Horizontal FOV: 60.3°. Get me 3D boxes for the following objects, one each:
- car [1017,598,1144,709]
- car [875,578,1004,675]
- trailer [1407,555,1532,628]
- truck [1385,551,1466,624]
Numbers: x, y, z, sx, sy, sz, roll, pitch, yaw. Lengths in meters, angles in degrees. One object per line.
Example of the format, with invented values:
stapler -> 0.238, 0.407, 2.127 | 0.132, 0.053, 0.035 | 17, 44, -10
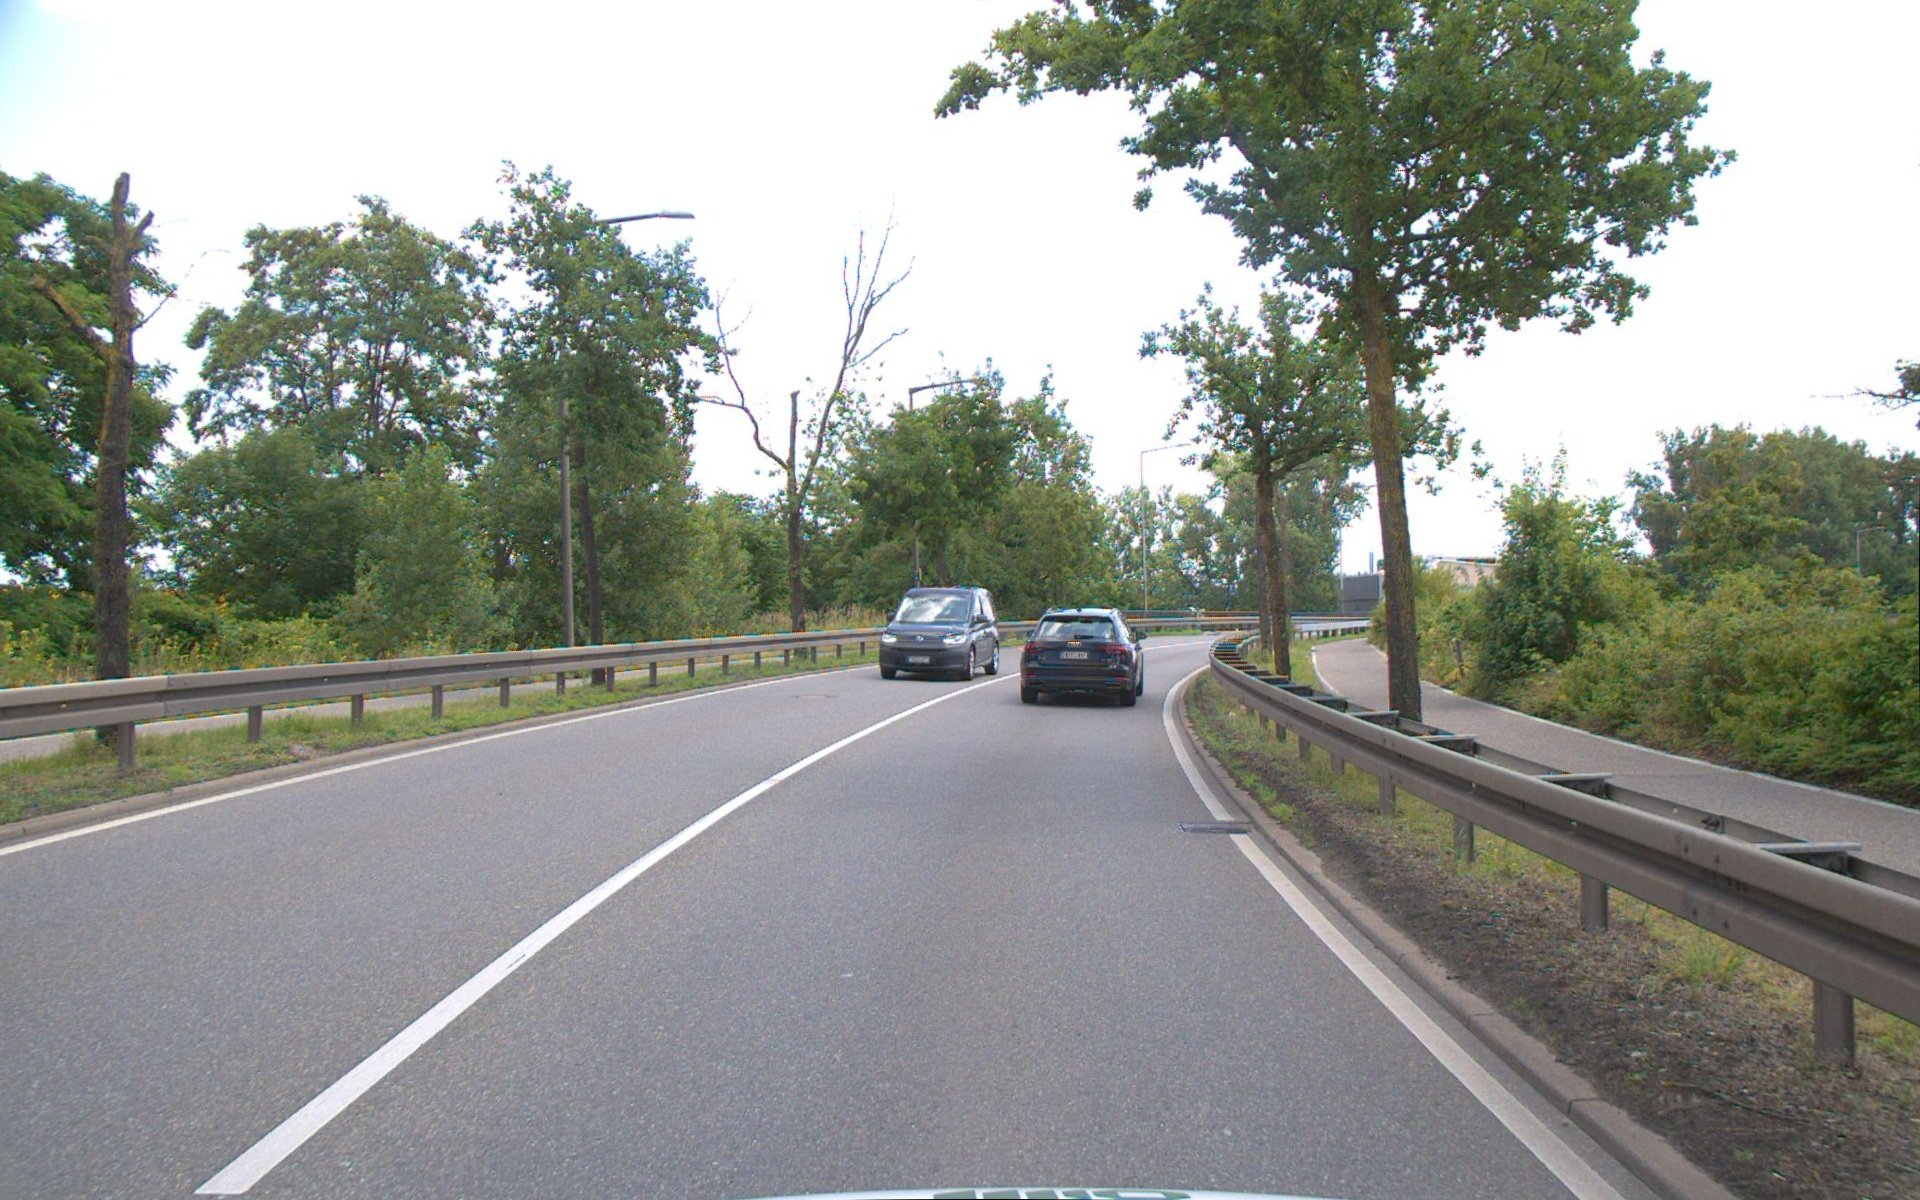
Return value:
car -> 1.866, 0.776, 26.235 | 1.790, 1.517, 4.208 | 2, 0, 3
car -> -0.329, 0.493, 32.933 | 1.813, 1.739, 4.315 | 1, 0, 9
trailer -> 32.537, -0.436, 104.997 | 2.663, 4.355, 14.163 | 0, 0, 38
truck -> 27.909, -0.724, 99.062 | 2.717, 4.207, 5.627 | 0, 0, 38
